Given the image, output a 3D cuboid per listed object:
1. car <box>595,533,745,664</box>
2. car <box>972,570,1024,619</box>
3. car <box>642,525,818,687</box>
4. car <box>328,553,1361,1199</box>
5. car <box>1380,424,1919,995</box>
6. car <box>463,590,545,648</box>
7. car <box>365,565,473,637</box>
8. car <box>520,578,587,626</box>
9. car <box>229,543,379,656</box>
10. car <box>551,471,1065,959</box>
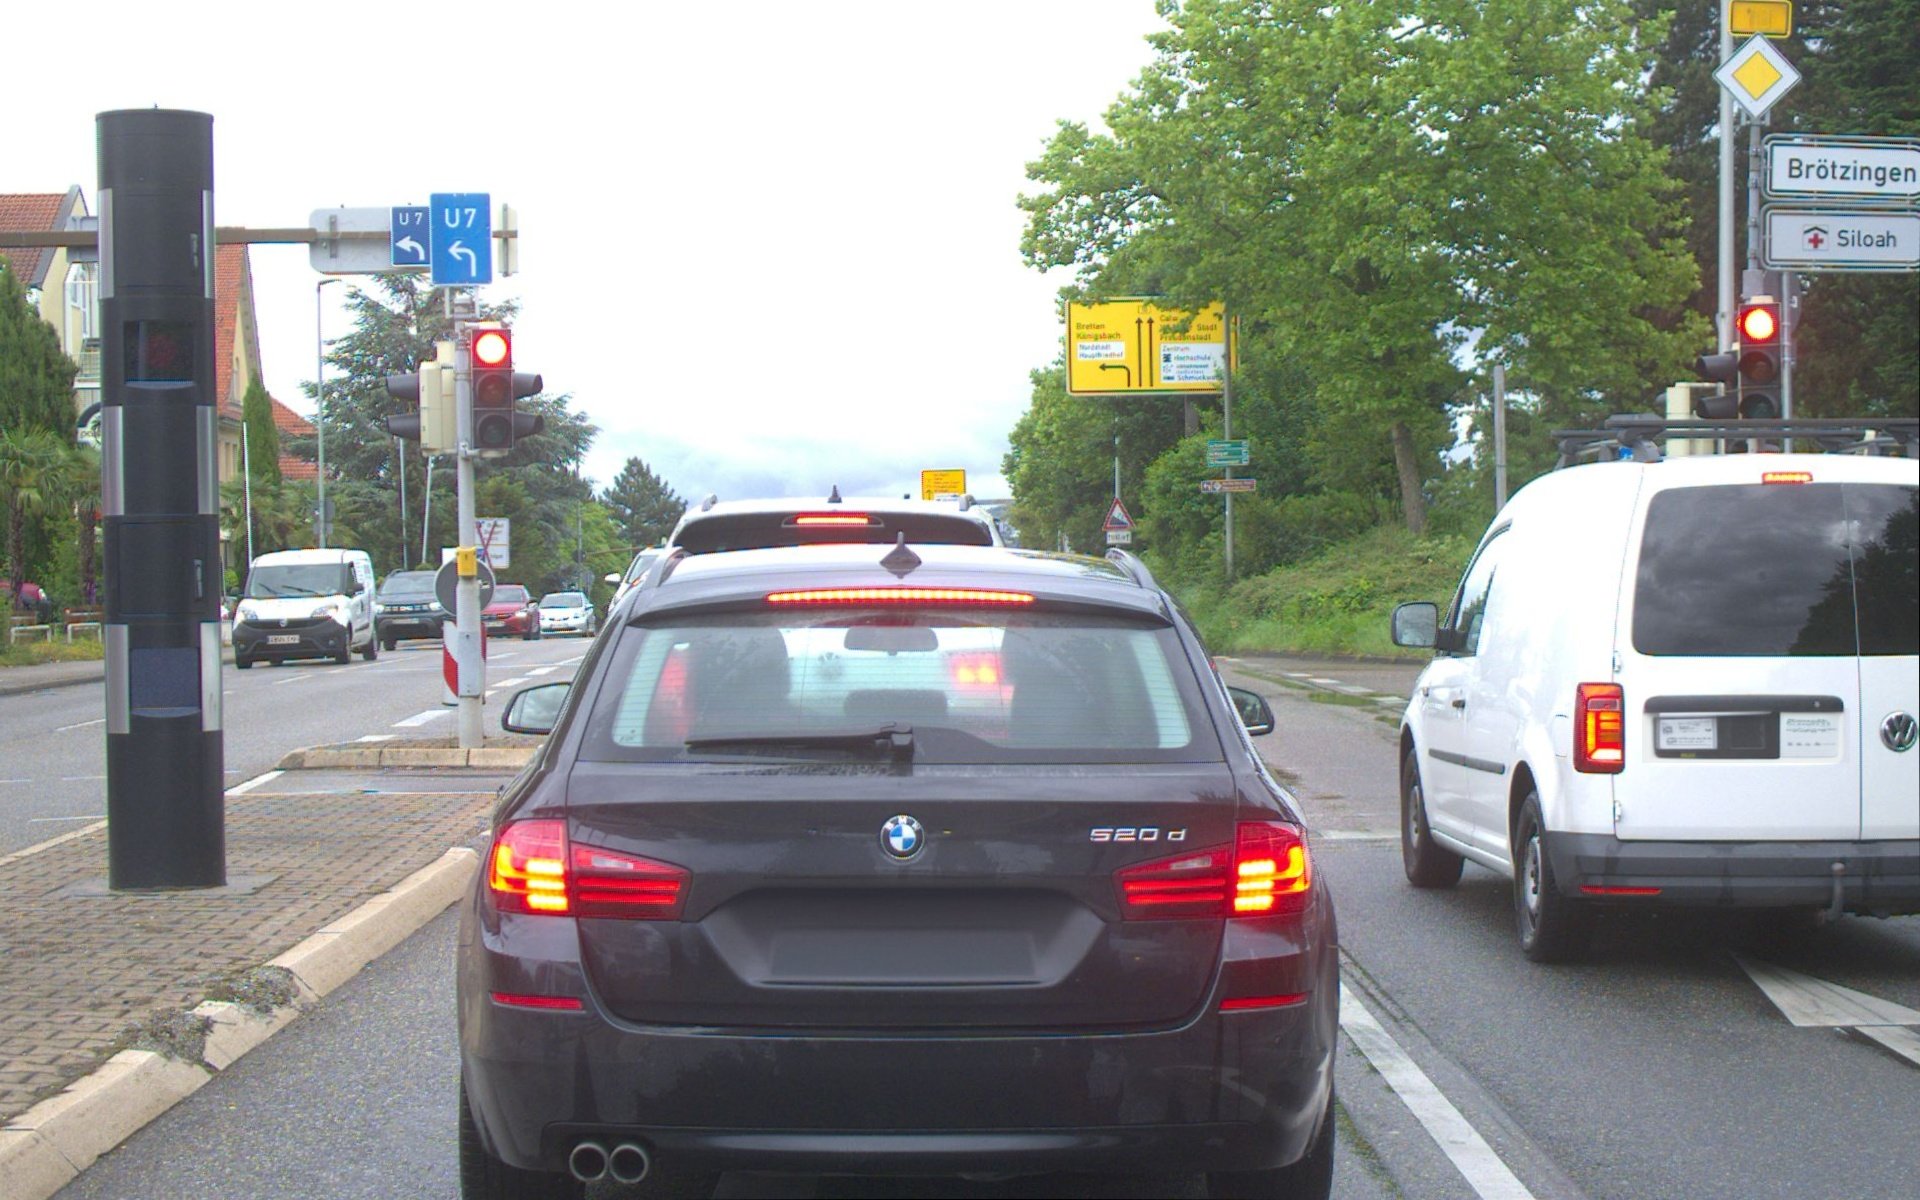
[{"bbox_3d":[-3.901,-0.041,46.761,1.734,1.686,4.000,-1,1,-1],"label":"car"},{"bbox_3d":[1.229,-0.186,110.409,1.600,1.367,3.680,-1,3,1],"label":"car"},{"bbox_3d":[-2.516,0.037,38.440,1.734,1.686,4.000,-1,1,-1],"label":"car"},{"bbox_3d":[-0.139,0.620,8.176,1.855,1.414,3.956,1,1,2],"label":"car"},{"bbox_3d":[2.785,0.327,13.254,1.741,1.863,3.946,1,1,-1],"label":"car"},{"bbox_3d":[-11.584,0.478,87.478,1.668,1.349,3.443,-1,1,-1],"label":"car"},{"bbox_3d":[-10.964,0.006,69.872,1.668,1.349,3.443,-1,1,-1],"label":"car"},{"bbox_3d":[-12.421,0.053,105.146,1.668,1.349,3.443,-1,1,-1],"label":"car"},{"bbox_3d":[-10.304,-0.038,54.210,1.668,1.664,3.683,-1,1,-1],"label":"car"},{"bbox_3d":[-0.491,0.363,13.818,1.728,1.705,3.382,1,1,3],"label":"car"}]
